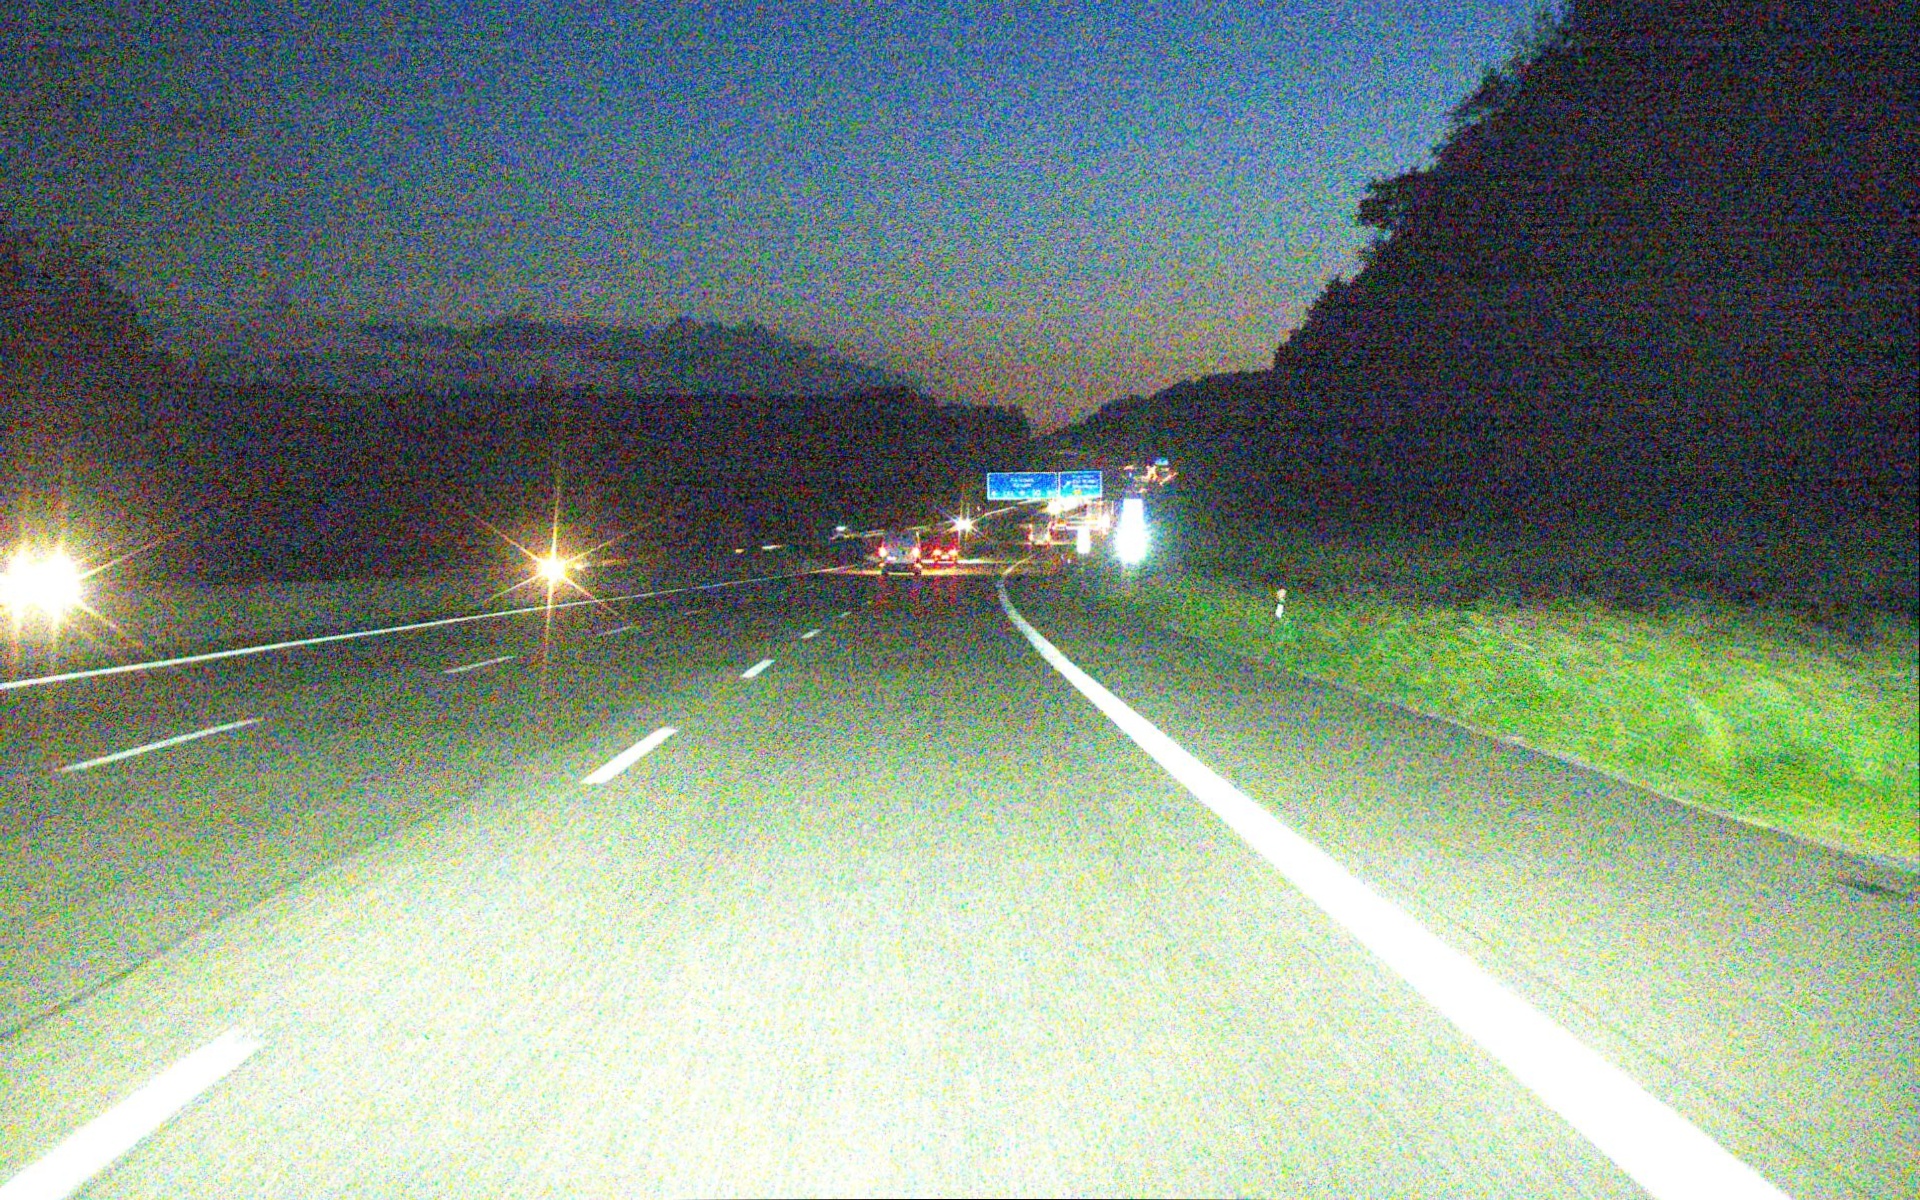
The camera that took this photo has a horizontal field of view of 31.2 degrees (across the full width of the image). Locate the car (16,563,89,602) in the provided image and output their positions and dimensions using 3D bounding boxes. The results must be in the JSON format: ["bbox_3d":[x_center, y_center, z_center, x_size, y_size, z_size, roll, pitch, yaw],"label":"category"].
[{"bbox_3d":[-30.375,-0.581,115.106,1.591,1.260,4.001,0,1,-3],"label":"car"}]

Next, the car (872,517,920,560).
[{"bbox_3d":[-3.460,-3.325,186.274,2.511,2.306,4.971,0,1,0],"label":"car"}]
